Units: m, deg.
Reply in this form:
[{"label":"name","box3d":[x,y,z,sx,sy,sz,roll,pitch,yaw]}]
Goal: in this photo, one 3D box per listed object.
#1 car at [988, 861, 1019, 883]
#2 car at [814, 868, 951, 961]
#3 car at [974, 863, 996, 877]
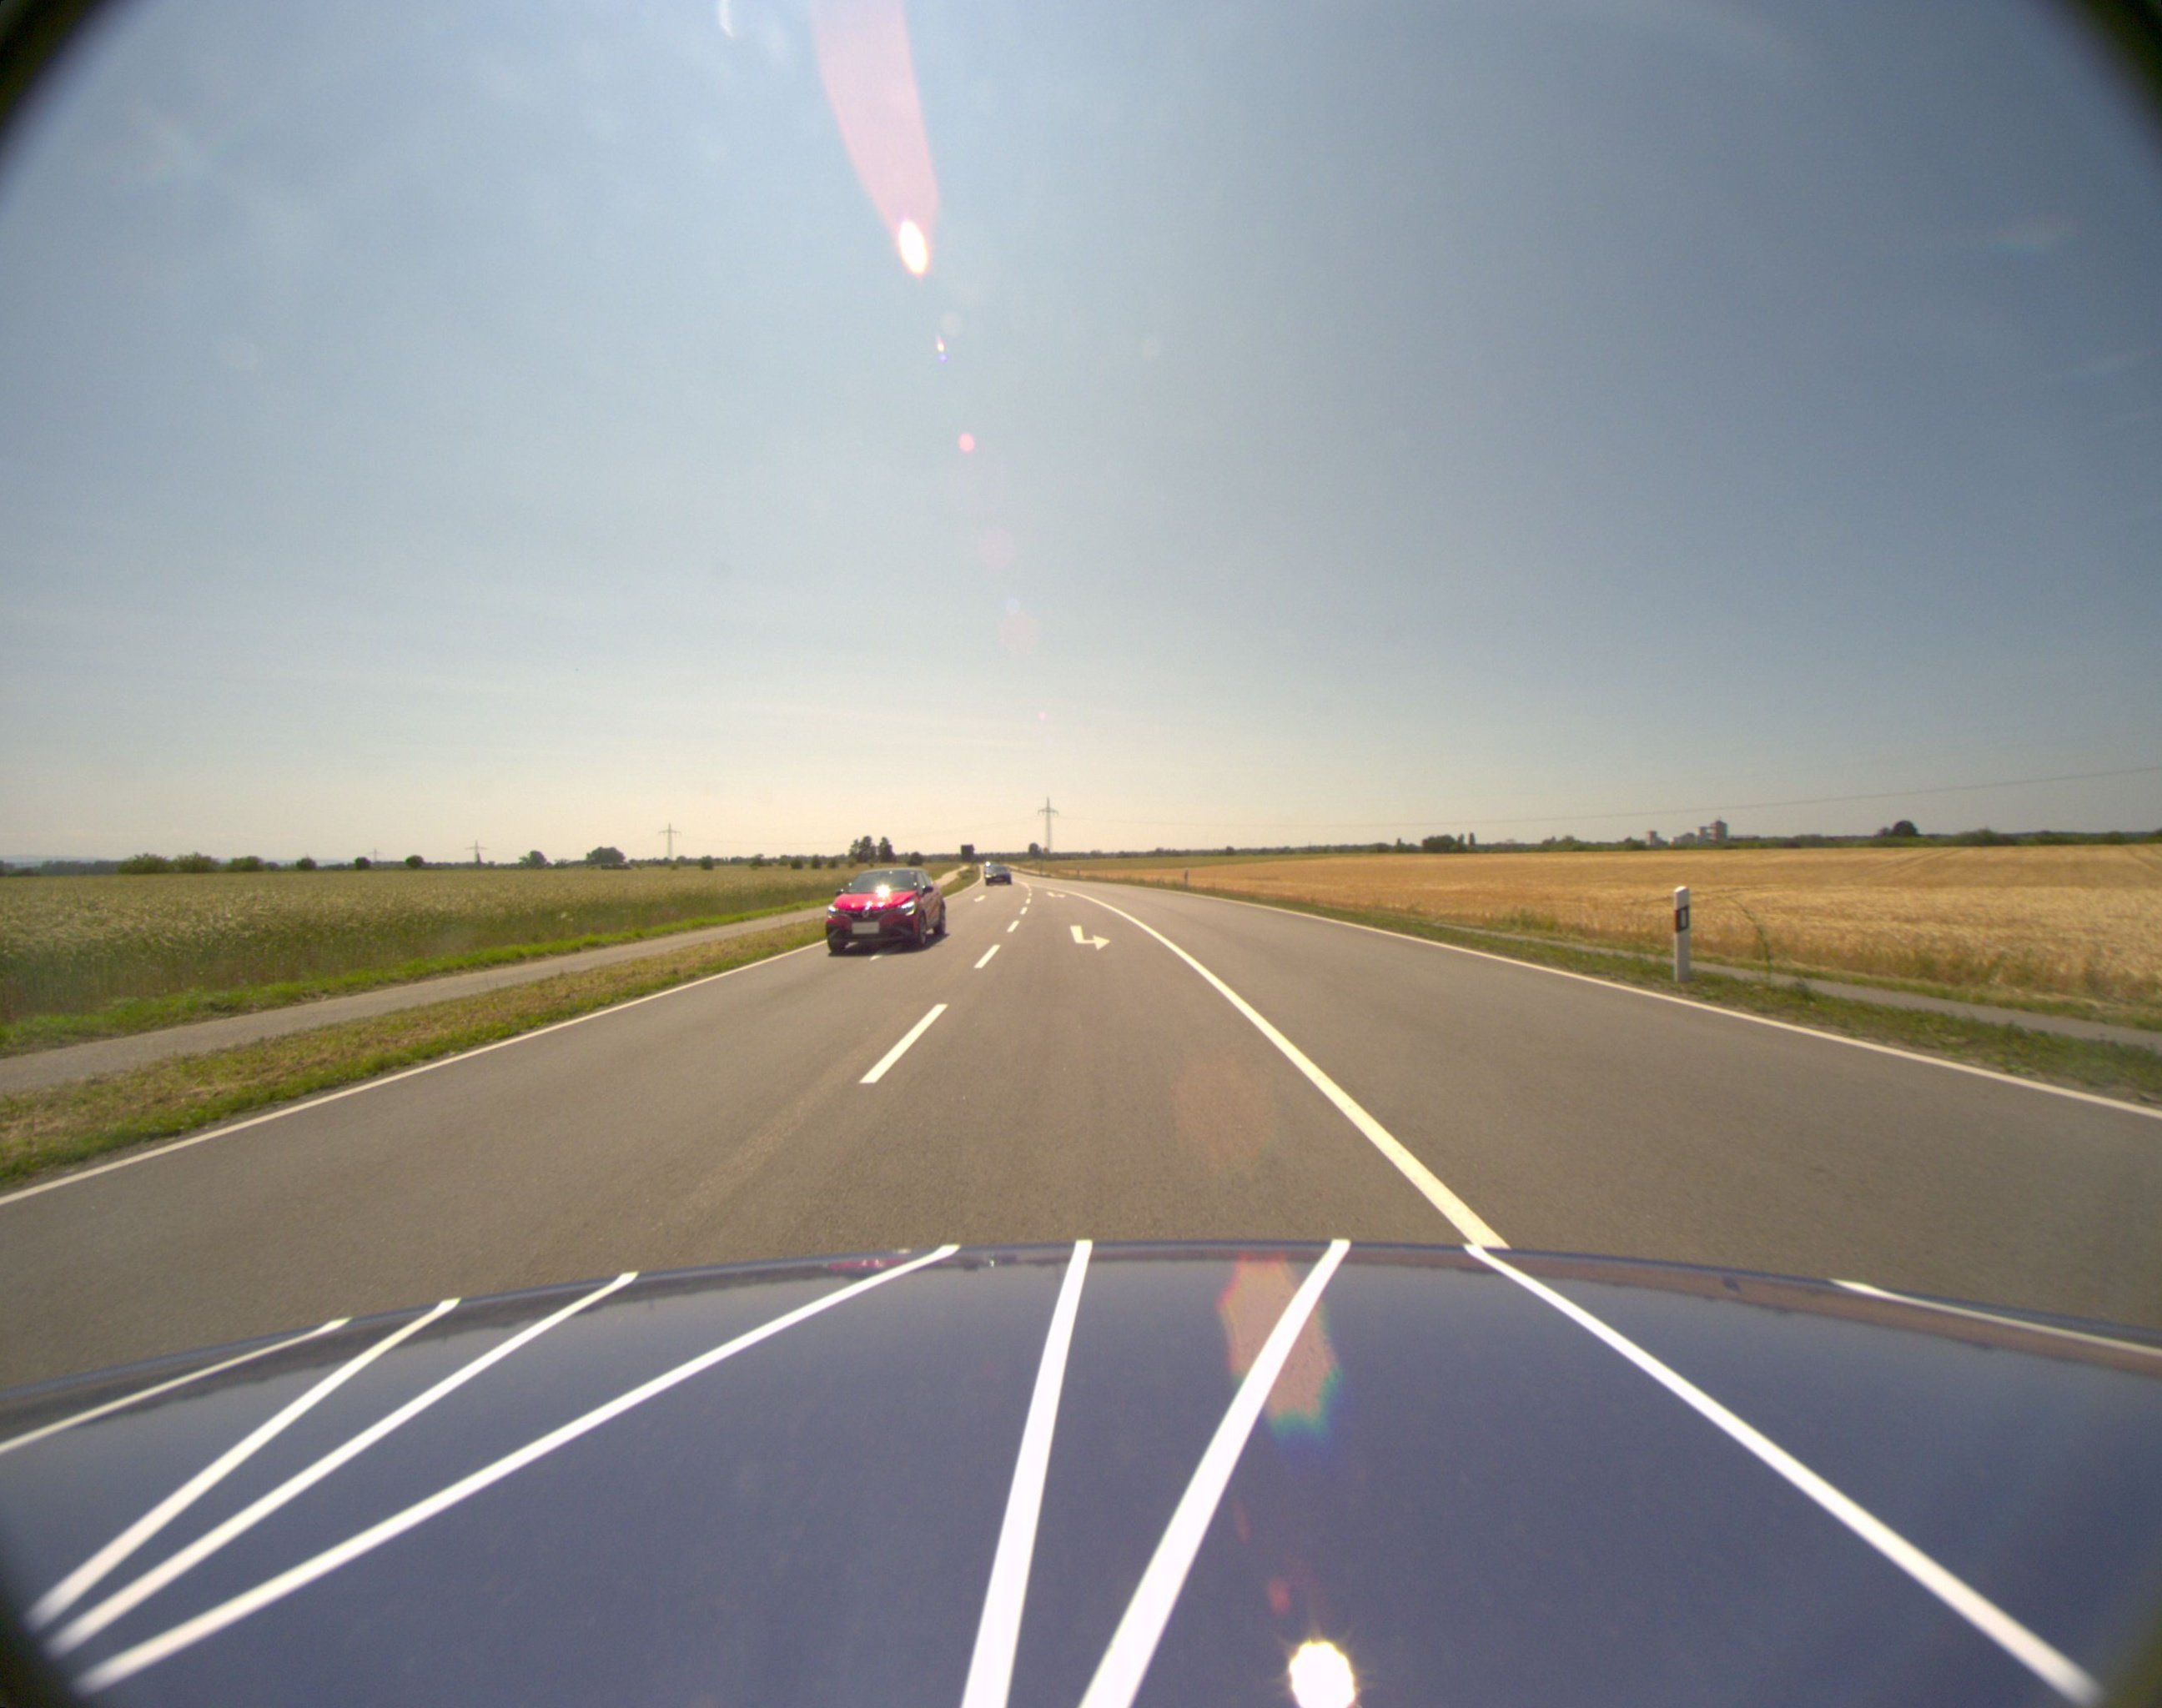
[{"label":"car","box3d":[-5.784,1.339,57.437,2.190,1.458,5.011,-2,0,-5]},{"label":"car","box3d":[-4.004,1.140,16.129,1.827,1.543,4.448,-2,0,-2]},{"label":"car","box3d":[-11.046,1.761,86.752,2.191,1.458,5.009,-2,0,-10]}]
